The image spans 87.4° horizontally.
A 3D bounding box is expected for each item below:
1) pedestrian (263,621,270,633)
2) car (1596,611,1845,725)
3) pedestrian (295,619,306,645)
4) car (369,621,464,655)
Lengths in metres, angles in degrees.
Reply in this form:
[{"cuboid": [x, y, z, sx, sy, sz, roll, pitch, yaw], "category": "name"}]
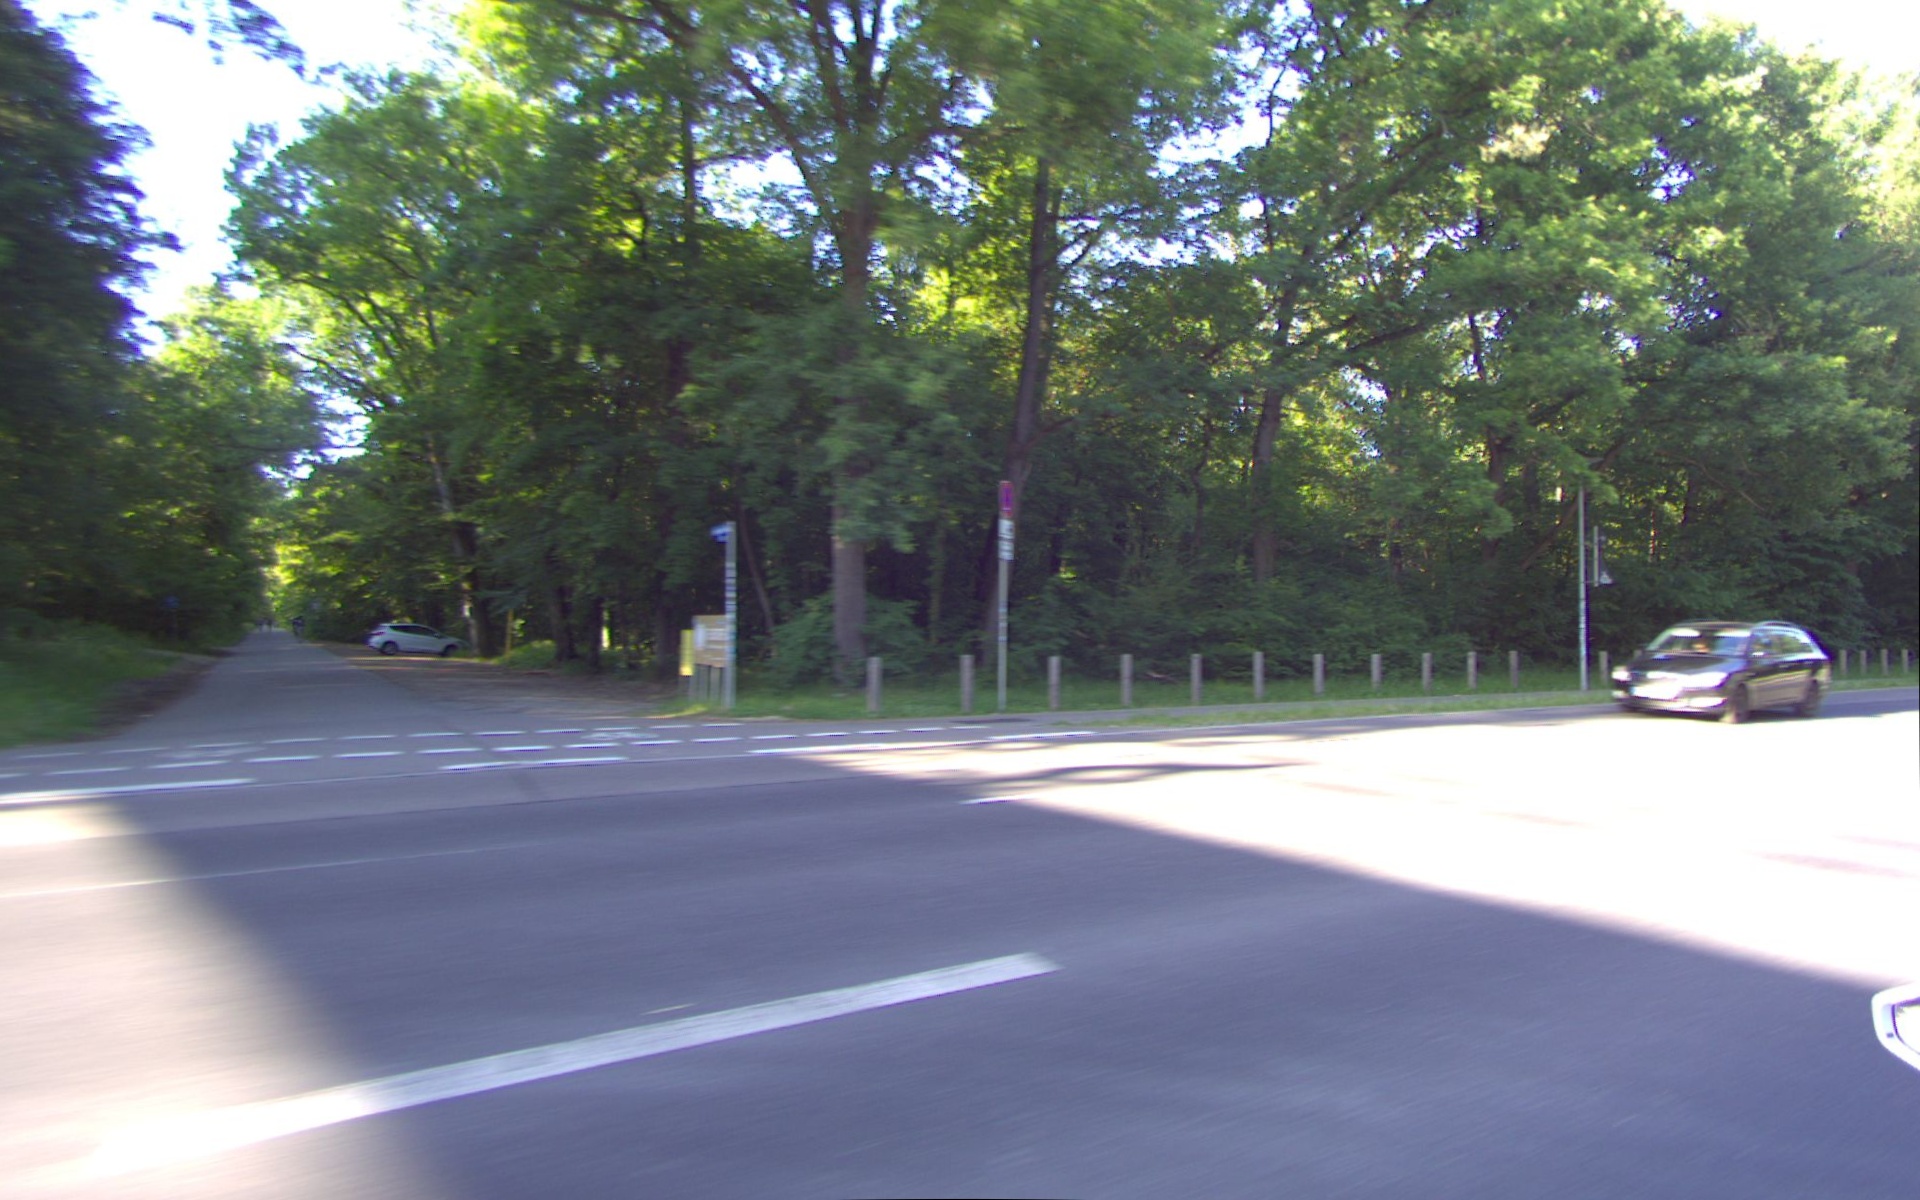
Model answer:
[{"cuboid": [-71.058, 2.735, 102.937, 0.517, 1.242, 0.496, 1, -1, -30], "category": "pedestrian"}, {"cuboid": [12.295, 1.017, 16.197, 4.128, 1.595, 1.714, 1, 1, -30], "category": "car"}, {"cuboid": [-43.564, 2.106, 66.342, 0.577, 1.706, 0.452, 1, -1, -29], "category": "pedestrian"}, {"cuboid": [-24.735, 1.718, 45.729, 3.675, 1.464, 1.586, 1, -2, -33], "category": "car"}]
